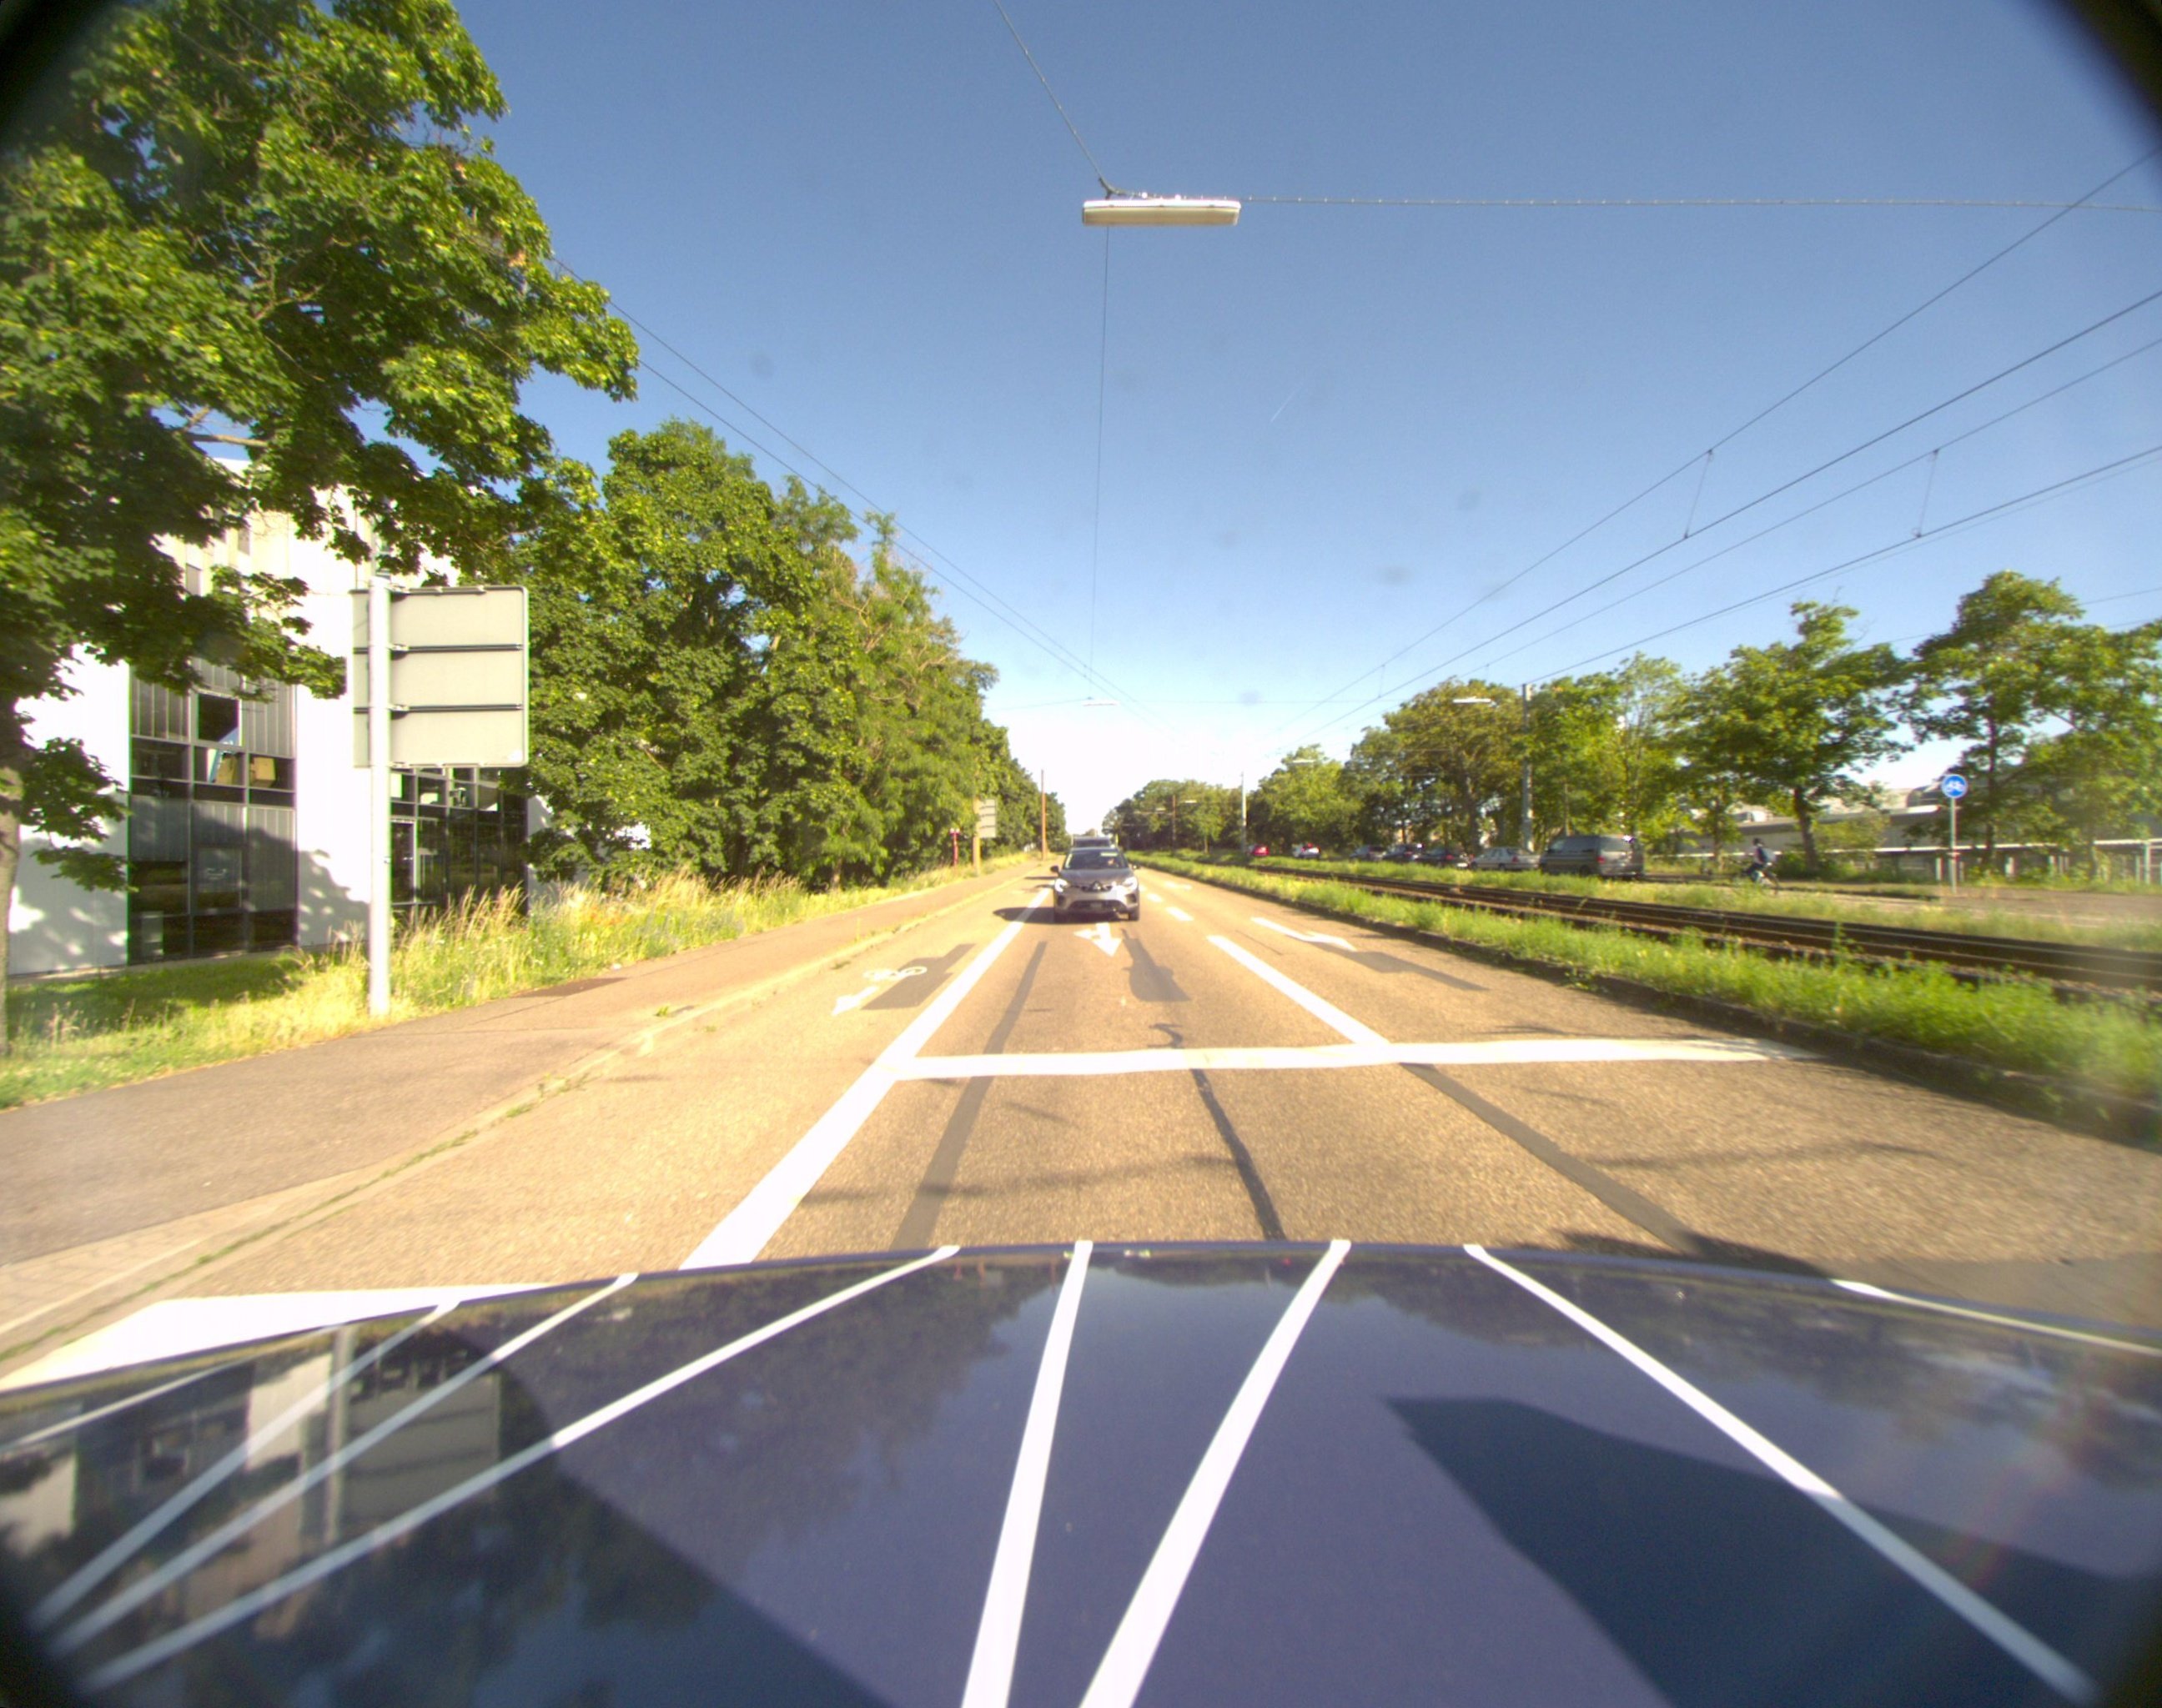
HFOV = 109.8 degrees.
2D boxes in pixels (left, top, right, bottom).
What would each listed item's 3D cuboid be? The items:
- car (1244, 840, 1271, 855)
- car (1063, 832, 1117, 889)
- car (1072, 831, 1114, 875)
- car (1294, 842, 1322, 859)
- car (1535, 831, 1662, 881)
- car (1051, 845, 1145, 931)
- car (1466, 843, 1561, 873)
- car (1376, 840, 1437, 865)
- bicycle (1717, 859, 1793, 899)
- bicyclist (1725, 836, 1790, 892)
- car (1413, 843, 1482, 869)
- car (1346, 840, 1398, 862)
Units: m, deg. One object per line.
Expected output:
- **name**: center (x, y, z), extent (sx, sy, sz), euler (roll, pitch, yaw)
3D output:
- **car**: center (21.131, -0.751, 91.036), extent (2.321, 1.723, 4.797), euler (-1, 0, 3)
- **car**: center (0.370, 0.228, 30.875), extent (1.998, 2.113, 4.000), euler (-1, 1, 1)
- **car**: center (0.583, -0.030, 40.369), extent (1.999, 2.198, 4.785), euler (0, 0, -1)
- **car**: center (21.479, -0.379, 72.115), extent (1.859, 1.549, 4.158), euler (-1, 1, 7)
- **car**: center (21.457, 0.064, 31.783), extent (2.207, 1.923, 4.685), euler (-1, 0, 2)
- **car**: center (0.281, 0.626, 16.915), extent (1.796, 1.584, 4.529), euler (-1, 1, -1)
- **car**: center (21.769, 0.182, 38.519), extent (2.130, 1.372, 4.615), euler (-1, 0, -1)
- **car**: center (21.510, -0.121, 50.405), extent (2.130, 1.578, 4.616), euler (-1, 0, 1)
- **bicycle**: center (19.902, 0.728, 22.499), extent (0.698, 1.096, 1.781), euler (-1, 1, 2)
- **bicyclist**: center (19.886, 0.288, 22.360), extent (0.804, 1.584, 1.236), euler (-1, 1, 1)
- **car**: center (21.558, 0.090, 44.911), extent (1.960, 1.418, 4.488), euler (-1, 0, 1)
- **car**: center (21.757, -0.211, 56.986), extent (2.130, 1.555, 4.560), euler (-1, 0, 0)
